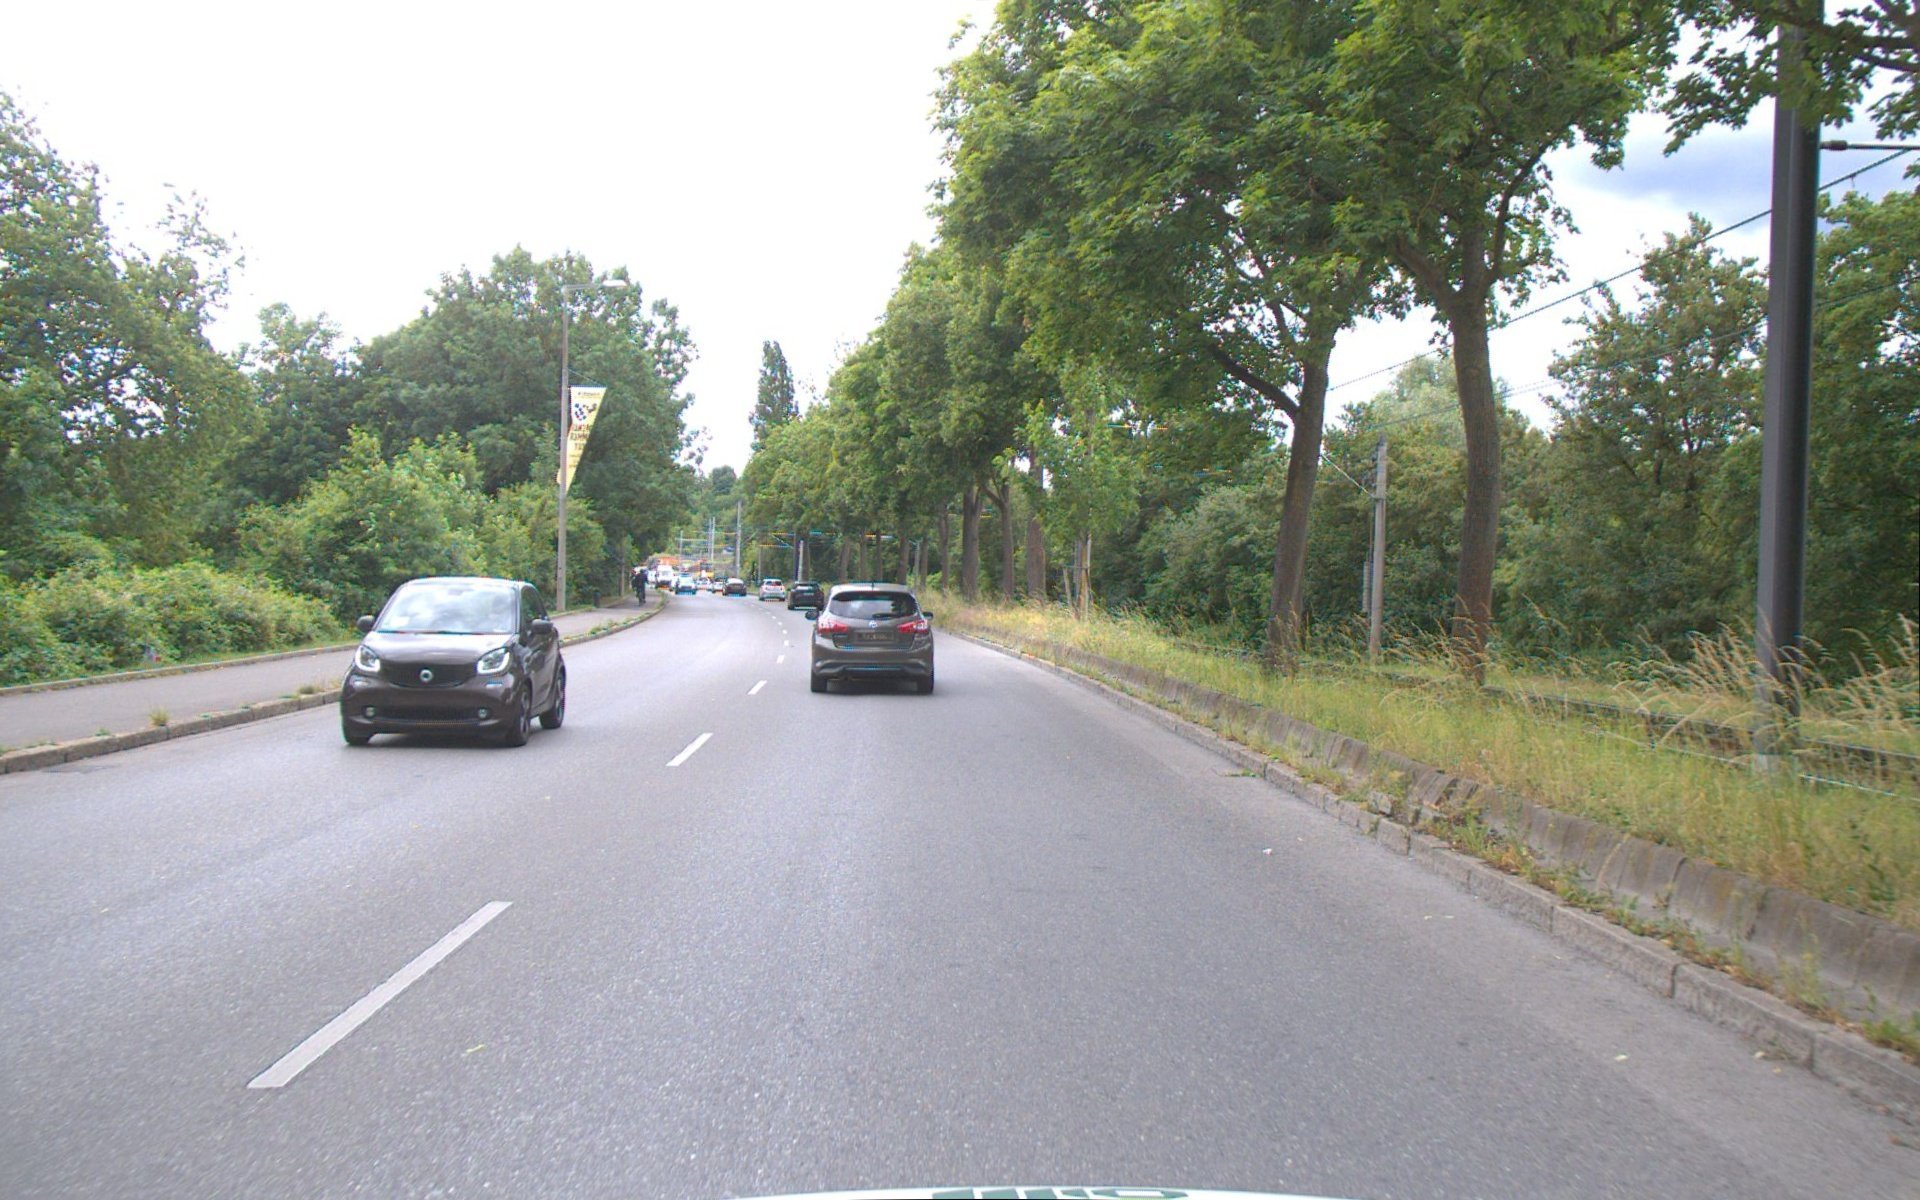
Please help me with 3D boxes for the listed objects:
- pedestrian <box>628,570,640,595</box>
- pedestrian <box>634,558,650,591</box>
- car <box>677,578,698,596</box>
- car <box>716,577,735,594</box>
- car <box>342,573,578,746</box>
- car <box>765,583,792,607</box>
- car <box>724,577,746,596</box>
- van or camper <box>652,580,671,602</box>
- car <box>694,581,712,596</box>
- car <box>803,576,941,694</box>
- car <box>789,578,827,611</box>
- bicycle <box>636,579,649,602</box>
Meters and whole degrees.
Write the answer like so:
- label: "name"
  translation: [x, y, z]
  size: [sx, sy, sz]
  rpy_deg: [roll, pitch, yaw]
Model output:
- label: "pedestrian"
  translation: [-22.672, -1.231, 115.035]
  size: [0.682, 1.650, 0.683]
  rpy_deg: [3, 1, -7]
- label: "pedestrian"
  translation: [-15.538, -1.250, 80.853]
  size: [0.606, 1.598, 0.848]
  rpy_deg: [3, 1, -6]
- label: "car"
  translation: [-24.226, -1.149, 147.150]
  size: [1.716, 1.489, 3.913]
  rpy_deg: [3, 0, -8]
- label: "car"
  translation: [-22.192, -1.371, 156.563]
  size: [1.743, 1.497, 3.993]
  rpy_deg: [2, 1, -8]
- label: "car"
  translation: [-4.801, 0.522, 16.252]
  size: [1.564, 1.532, 3.026]
  rpy_deg: [1, 0, -4]
- label: "car"
  translation: [-12.566, -0.368, 114.782]
  size: [1.742, 1.497, 3.996]
  rpy_deg: [4, 1, -6]
- label: "car"
  translation: [-19.450, -1.186, 142.786]
  size: [1.743, 1.497, 3.993]
  rpy_deg: [3, 1, -8]
- label: "van or camper"
  translation: [-33.489, -1.017, 185.455]
  size: [1.891, 2.188, 3.921]
  rpy_deg: [3, 1, -11]
- label: "car"
  translation: [-27.616, -1.236, 177.847]
  size: [1.743, 1.497, 3.993]
  rpy_deg: [3, 1, -8]
- label: "car"
  translation: [-1.380, 0.458, 24.509]
  size: [1.781, 1.534, 3.995]
  rpy_deg: [1, 1, -7]
- label: "car"
  translation: [-7.791, -0.312, 85.099]
  size: [1.741, 1.497, 3.997]
  rpy_deg: [4, 1, -4]
- label: "bicycle"
  translation: [-15.550, -0.464, 80.929]
  size: [0.478, 1.048, 1.123]
  rpy_deg: [3, 1, -6]
